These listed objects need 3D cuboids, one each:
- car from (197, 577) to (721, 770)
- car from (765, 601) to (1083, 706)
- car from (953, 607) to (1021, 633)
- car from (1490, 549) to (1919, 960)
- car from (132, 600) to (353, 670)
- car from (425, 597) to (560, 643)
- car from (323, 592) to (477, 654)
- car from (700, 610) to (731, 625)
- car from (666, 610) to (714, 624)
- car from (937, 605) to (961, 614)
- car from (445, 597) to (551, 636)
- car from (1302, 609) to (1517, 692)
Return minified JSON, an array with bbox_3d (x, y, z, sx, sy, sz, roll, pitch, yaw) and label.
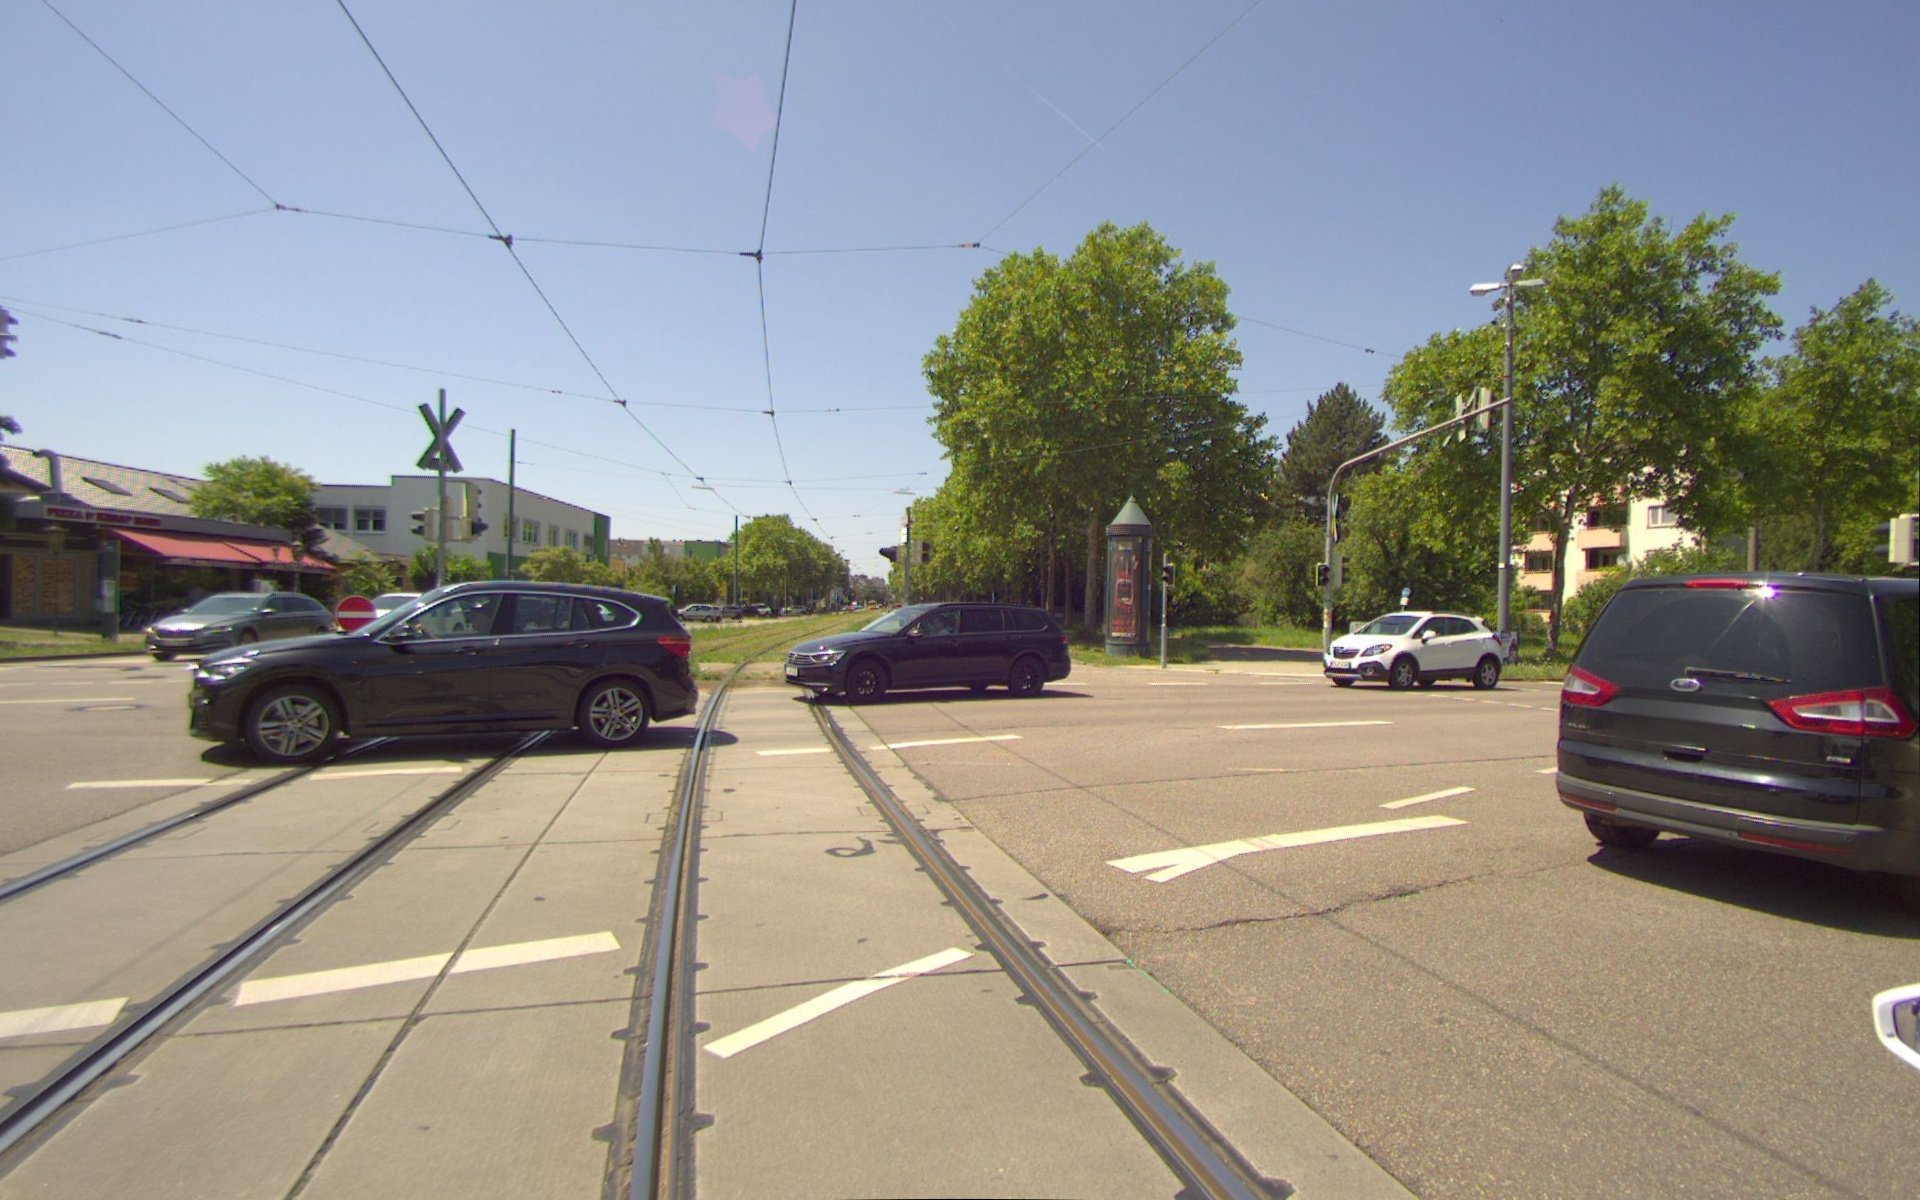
[{"bbox_3d":[-4.737,0.636,9.988,4.245,1.559,1.901,1,0,-28],"label":"car"},{"bbox_3d":[-0.528,0.786,15.917,4.688,1.459,1.941,1,0,-29],"label":"car"},{"bbox_3d":[1.697,1.269,63.029,4.061,1.415,1.457,2,1,-8],"label":"car"},{"bbox_3d":[5.653,0.695,6.182,4.587,1.779,1.848,1,1,-26],"label":"car"},{"bbox_3d":[-16.103,0.747,22.905,1.851,1.399,4.669,1,-1,-3],"label":"car"},{"bbox_3d":[-17.833,0.749,38.372,4.519,1.673,1.768,1,0,-33],"label":"car"},{"bbox_3d":[-16.071,0.613,29.148,2.174,1.626,4.459,1,0,-4],"label":"car"},{"bbox_3d":[-21.809,1.558,89.620,2.431,1.221,1.110,2,1,-35],"label":"car"},{"bbox_3d":[-23.343,1.471,86.873,3.845,1.221,1.352,1,0,-28],"label":"car"},{"bbox_3d":[-1.311,1.106,116.146,2.670,1.008,1.008,1,0,-7],"label":"car"},{"bbox_3d":[-20.864,0.751,45.416,4.147,1.673,1.768,1,0,-32],"label":"car"},{"bbox_3d":[9.663,1.043,21.597,4.343,1.636,1.783,1,0,-24],"label":"car"}]
